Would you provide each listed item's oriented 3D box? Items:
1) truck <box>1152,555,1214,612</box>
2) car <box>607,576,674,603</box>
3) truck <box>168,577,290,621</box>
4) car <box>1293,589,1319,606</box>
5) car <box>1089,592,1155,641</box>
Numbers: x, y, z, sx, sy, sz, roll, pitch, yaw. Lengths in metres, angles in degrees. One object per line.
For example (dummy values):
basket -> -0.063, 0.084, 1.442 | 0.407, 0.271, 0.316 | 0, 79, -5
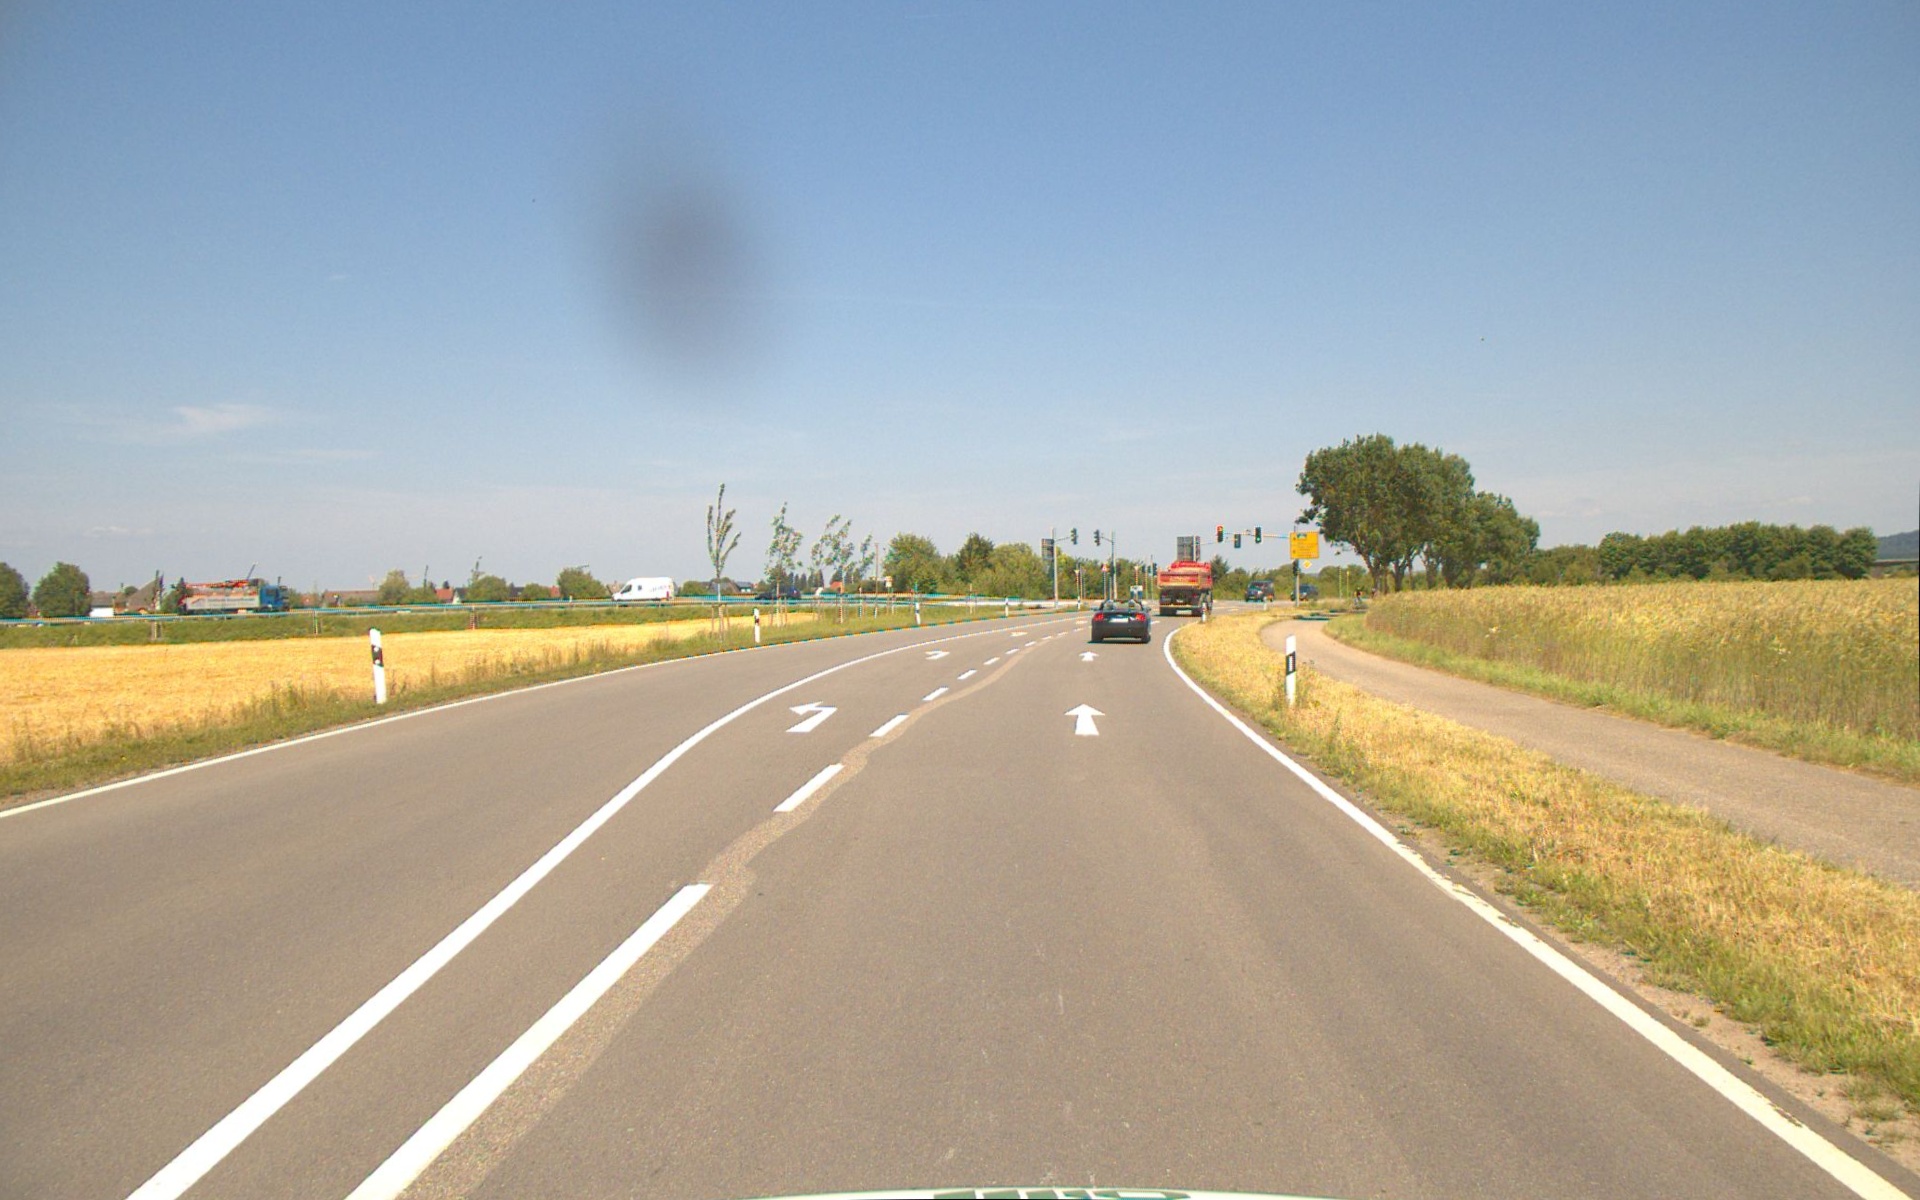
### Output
truck -> 12.985, -0.887, 95.918 | 2.656, 3.106, 8.170 | 0, -1, 14
car -> -29.900, -0.957, 154.981 | 5.792, 2.464, 2.249 | 0, 0, 5
truck -> -66.872, -0.116, 151.464 | 9.886, 3.859, 2.622 | 0, 0, -6
car -> 36.702, -0.305, 175.486 | 1.891, 1.770, 4.889 | 0, 1, 21
car -> 4.974, 0.508, 50.432 | 1.710, 1.400, 3.682 | 1, -1, 10
